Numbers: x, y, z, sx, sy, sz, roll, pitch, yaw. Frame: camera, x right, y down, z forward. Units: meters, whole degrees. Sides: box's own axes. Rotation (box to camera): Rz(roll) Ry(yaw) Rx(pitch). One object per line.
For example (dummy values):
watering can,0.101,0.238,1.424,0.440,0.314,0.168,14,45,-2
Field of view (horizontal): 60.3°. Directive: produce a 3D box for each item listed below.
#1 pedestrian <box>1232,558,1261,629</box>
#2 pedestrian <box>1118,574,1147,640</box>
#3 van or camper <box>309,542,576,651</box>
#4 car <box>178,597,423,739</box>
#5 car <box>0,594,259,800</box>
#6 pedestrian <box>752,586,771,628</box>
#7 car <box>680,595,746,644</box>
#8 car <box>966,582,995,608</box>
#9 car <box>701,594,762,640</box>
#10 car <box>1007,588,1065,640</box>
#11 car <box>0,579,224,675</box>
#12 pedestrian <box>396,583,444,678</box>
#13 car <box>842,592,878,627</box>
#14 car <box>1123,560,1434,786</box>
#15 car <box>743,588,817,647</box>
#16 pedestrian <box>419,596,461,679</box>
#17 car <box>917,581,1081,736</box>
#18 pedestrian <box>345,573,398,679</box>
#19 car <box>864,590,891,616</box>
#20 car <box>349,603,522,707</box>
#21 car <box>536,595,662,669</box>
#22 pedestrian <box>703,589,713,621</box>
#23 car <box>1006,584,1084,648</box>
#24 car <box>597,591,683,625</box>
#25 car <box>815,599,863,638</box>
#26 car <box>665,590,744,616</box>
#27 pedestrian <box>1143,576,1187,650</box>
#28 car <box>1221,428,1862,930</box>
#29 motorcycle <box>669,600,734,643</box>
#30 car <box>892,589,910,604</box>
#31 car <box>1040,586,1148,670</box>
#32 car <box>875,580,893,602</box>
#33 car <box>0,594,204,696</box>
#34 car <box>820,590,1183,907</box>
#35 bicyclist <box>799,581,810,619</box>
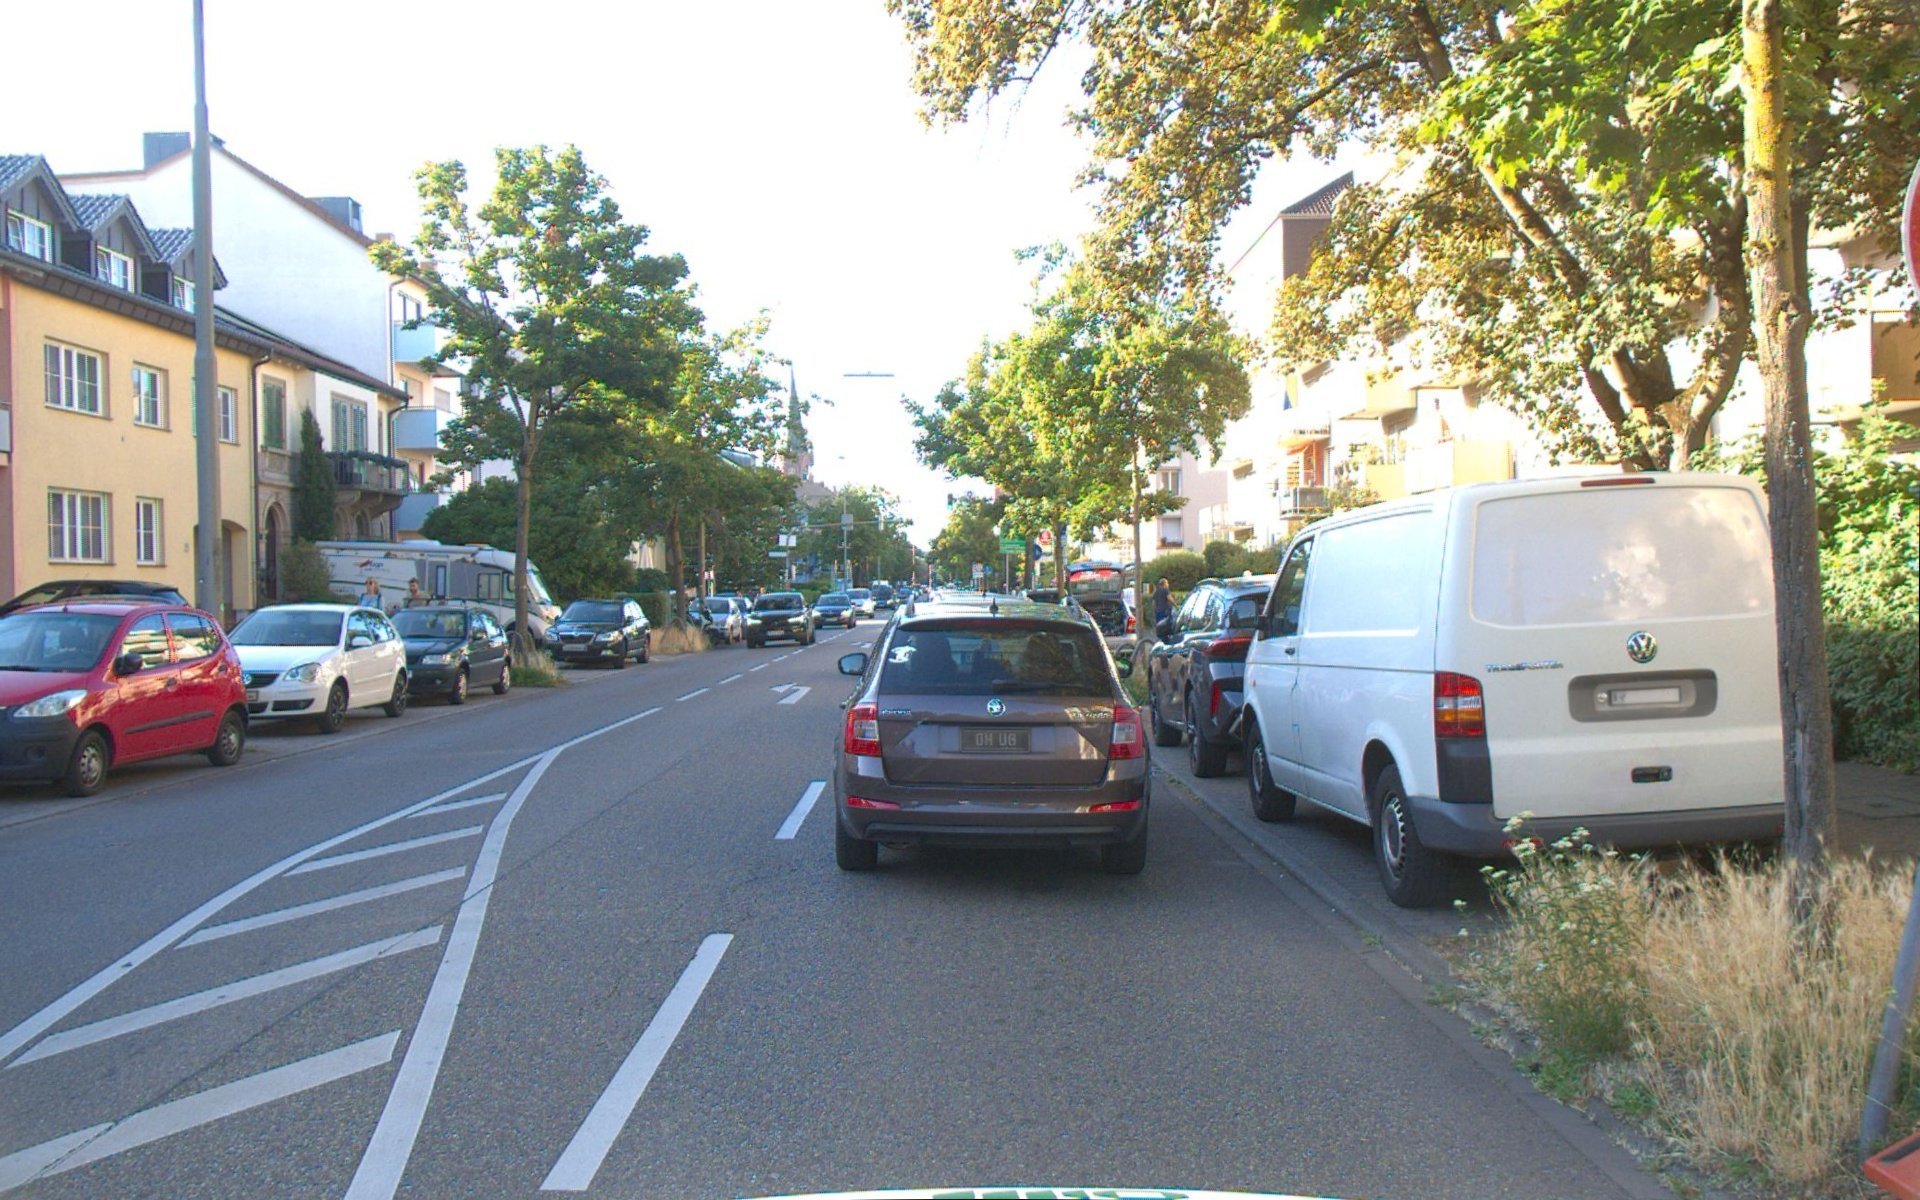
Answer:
pedestrian,6.860,-0.158,39.652,0.467,1.668,0.533,-1,0,-20
pedestrian,4.776,0.183,45.835,0.649,1.779,0.772,-2,0,1
van or camper,-14.358,-0.099,46.240,6.660,2.821,2.351,1,0,-2
car,-8.009,0.753,20.459,1.561,1.550,3.889,-1,0,-2
car,-7.633,0.743,14.302,1.560,1.550,3.437,-1,0,2
pedestrian,-9.543,0.333,79.518,0.764,2.022,0.821,-1,0,0
car,-8.019,0.623,53.950,1.561,1.496,3.803,1,0,-1
car,1.527,-0.388,120.733,1.952,1.803,4.001,1,0,2
car,-8.067,0.574,58.579,1.615,1.544,4.073,0,0,-1
car,2.323,0.400,51.343,1.668,1.475,4.014,-3,0,1
car,-16.186,0.480,30.992,3.905,1.664,1.866,1,0,0
pedestrian,-10.487,0.588,32.127,0.699,1.824,0.572,-1,0,2
car,-5.703,0.510,94.331,1.769,1.836,4.744,-3,0,-1
car,2.668,0.550,14.901,1.818,1.631,4.310,-3,0,-1
car,-5.359,0.501,49.708,1.798,1.597,3.999,-3,0,-1
pedestrian,-9.810,0.701,31.194,0.577,1.522,0.542,-1,0,2
car,0.416,0.607,19.365,1.701,1.598,4.000,1,0,0
pedestrian,-10.280,0.454,28.918,0.699,1.824,0.506,-1,0,2
car,-6.618,0.234,132.711,1.953,1.942,4.963,-3,0,-1
car,-7.903,0.784,25.230,1.511,1.421,3.665,-1,0,-1
car,-7.994,0.670,37.017,1.829,1.520,4.517,1,0,-1
pedestrian,-14.506,0.258,95.157,0.440,1.828,0.504,-1,0,0
car,2.318,0.406,45.779,1.818,1.609,4.012,-3,0,-1
car,-18.188,0.466,94.138,4.540,1.843,1.861,-1,0,-1
car,-5.244,0.781,71.869,1.725,1.477,4.533,-3,0,-1
car,-15.476,0.164,100.299,4.540,1.562,1.861,0,0,-1
pedestrian,4.720,0.291,38.092,0.742,1.668,0.693,-1,0,36
car,2.889,0.323,9.470,1.865,2.140,4.639,-1,0,-2
motorcycle,-7.854,0.658,50.244,2.015,1.287,0.764,-1,0,38
car,-6.598,-0.384,184.999,1.793,1.607,4.000,-1,0,-1
car,2.630,0.519,33.298,1.673,1.506,4.267,-3,0,-1
car,-8.891,-1.011,193.089,1.953,2.521,3.999,-1,0,-1
car,-13.543,0.647,25.867,1.630,1.433,3.753,-2,0,1
car,0.162,0.702,10.085,1.737,1.515,4.310,0,0,-1
bicyclist,-7.067,-0.012,75.123,0.459,1.692,0.552,-1,0,-2
